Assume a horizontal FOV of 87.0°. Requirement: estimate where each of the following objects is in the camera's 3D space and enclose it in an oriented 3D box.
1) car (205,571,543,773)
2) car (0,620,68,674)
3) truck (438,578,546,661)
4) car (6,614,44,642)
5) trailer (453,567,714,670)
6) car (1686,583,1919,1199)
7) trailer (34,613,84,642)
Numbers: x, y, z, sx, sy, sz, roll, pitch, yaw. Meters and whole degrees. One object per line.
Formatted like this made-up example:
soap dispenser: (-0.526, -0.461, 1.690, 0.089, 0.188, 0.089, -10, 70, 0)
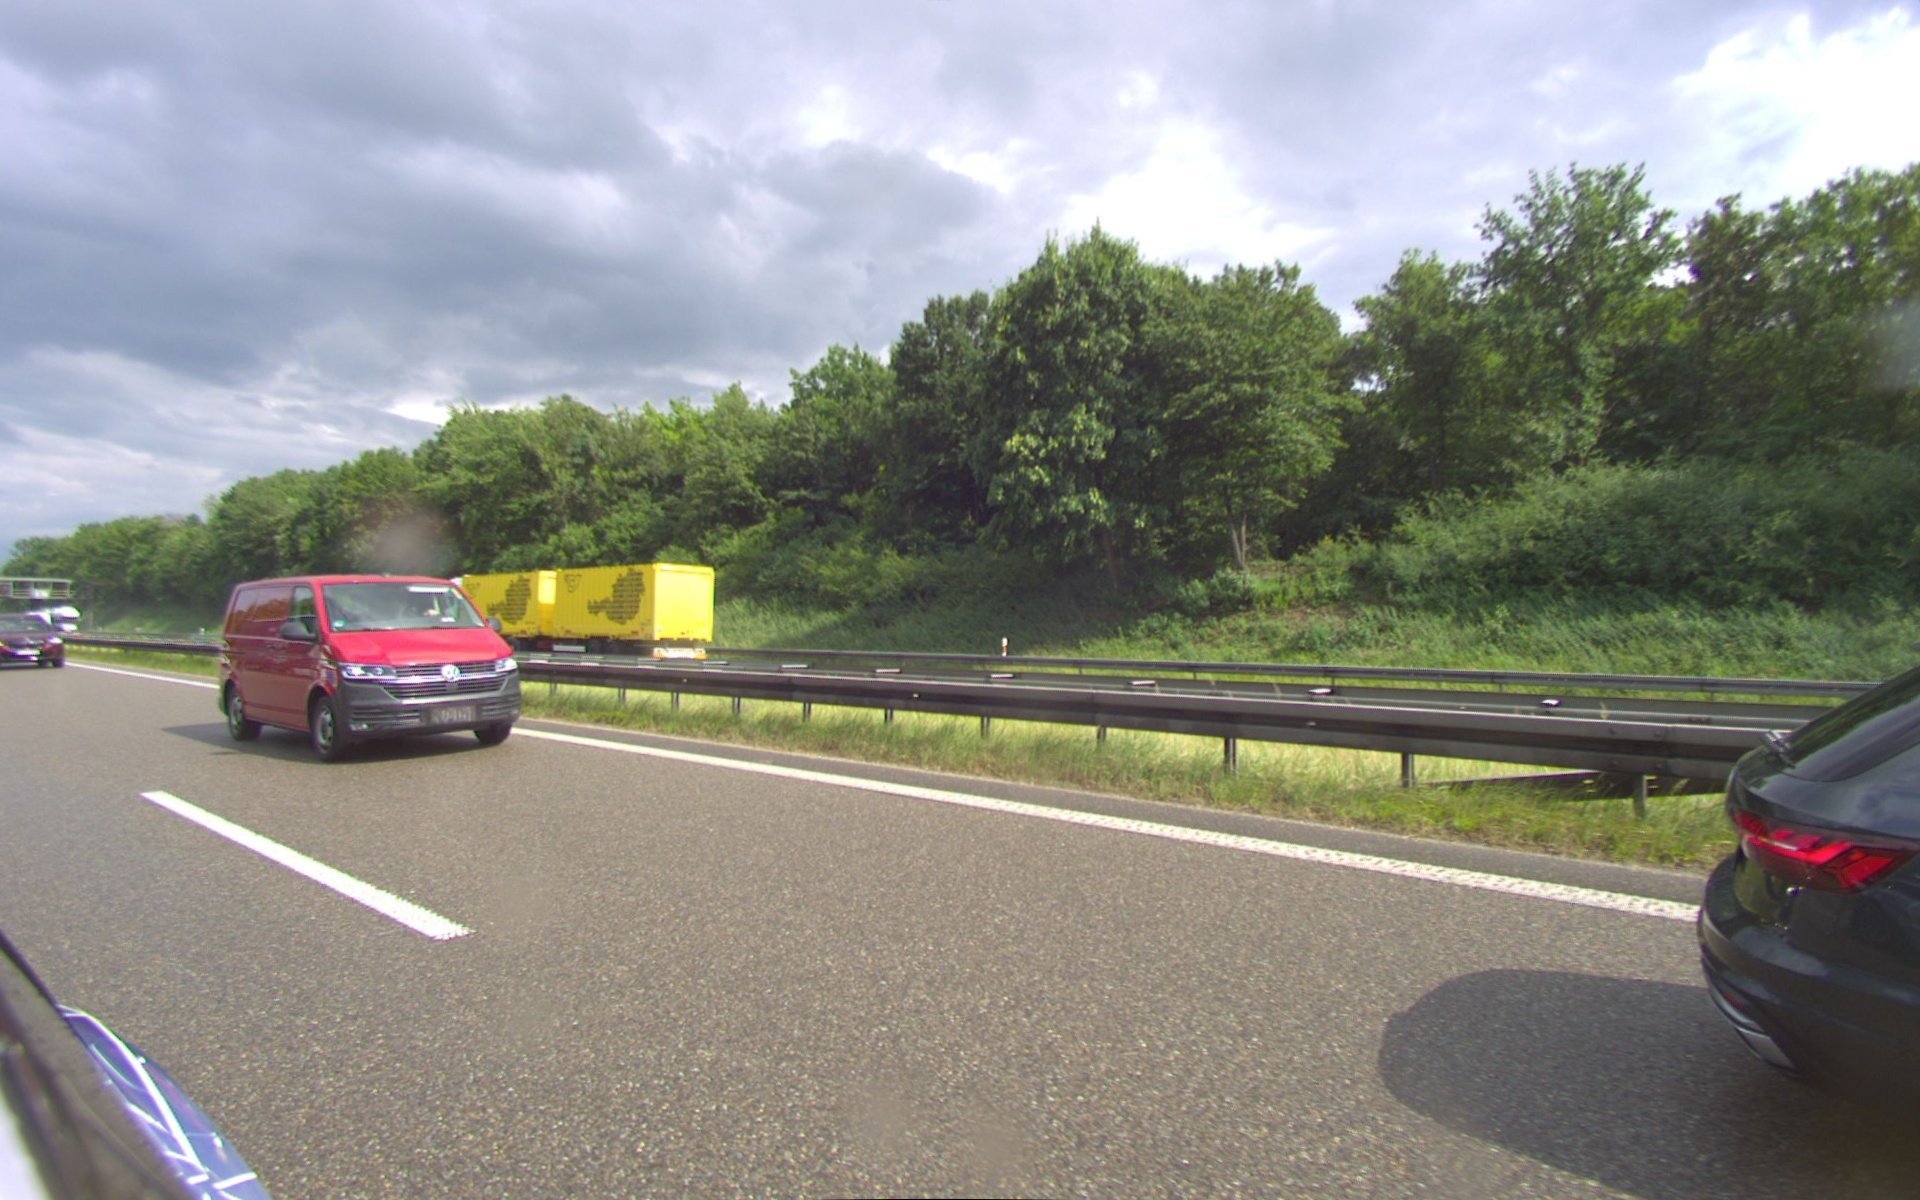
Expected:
car: (-6.944, 0.698, 11.739, 4.836, 1.880, 1.902, -1, 0, 41)
car: (-29.335, 1.413, 31.296, 4.836, 1.508, 1.983, -1, 0, 41)
truck: (-22.122, 0.880, 47.742, 5.328, 3.692, 2.694, -1, 0, 41)
car: (-100.911, 3.045, 109.204, 6.784, 2.892, 2.240, -1, 0, 41)
trailer: (-16.479, 0.771, 42.773, 16.668, 3.672, 2.694, -1, 0, 41)
car: (4.174, 0.643, 1.557, 4.836, 1.429, 1.776, -1, 0, 41)
trailer: (-125.919, 3.769, 141.311, 17.941, 3.860, 2.959, -1, 0, 41)
